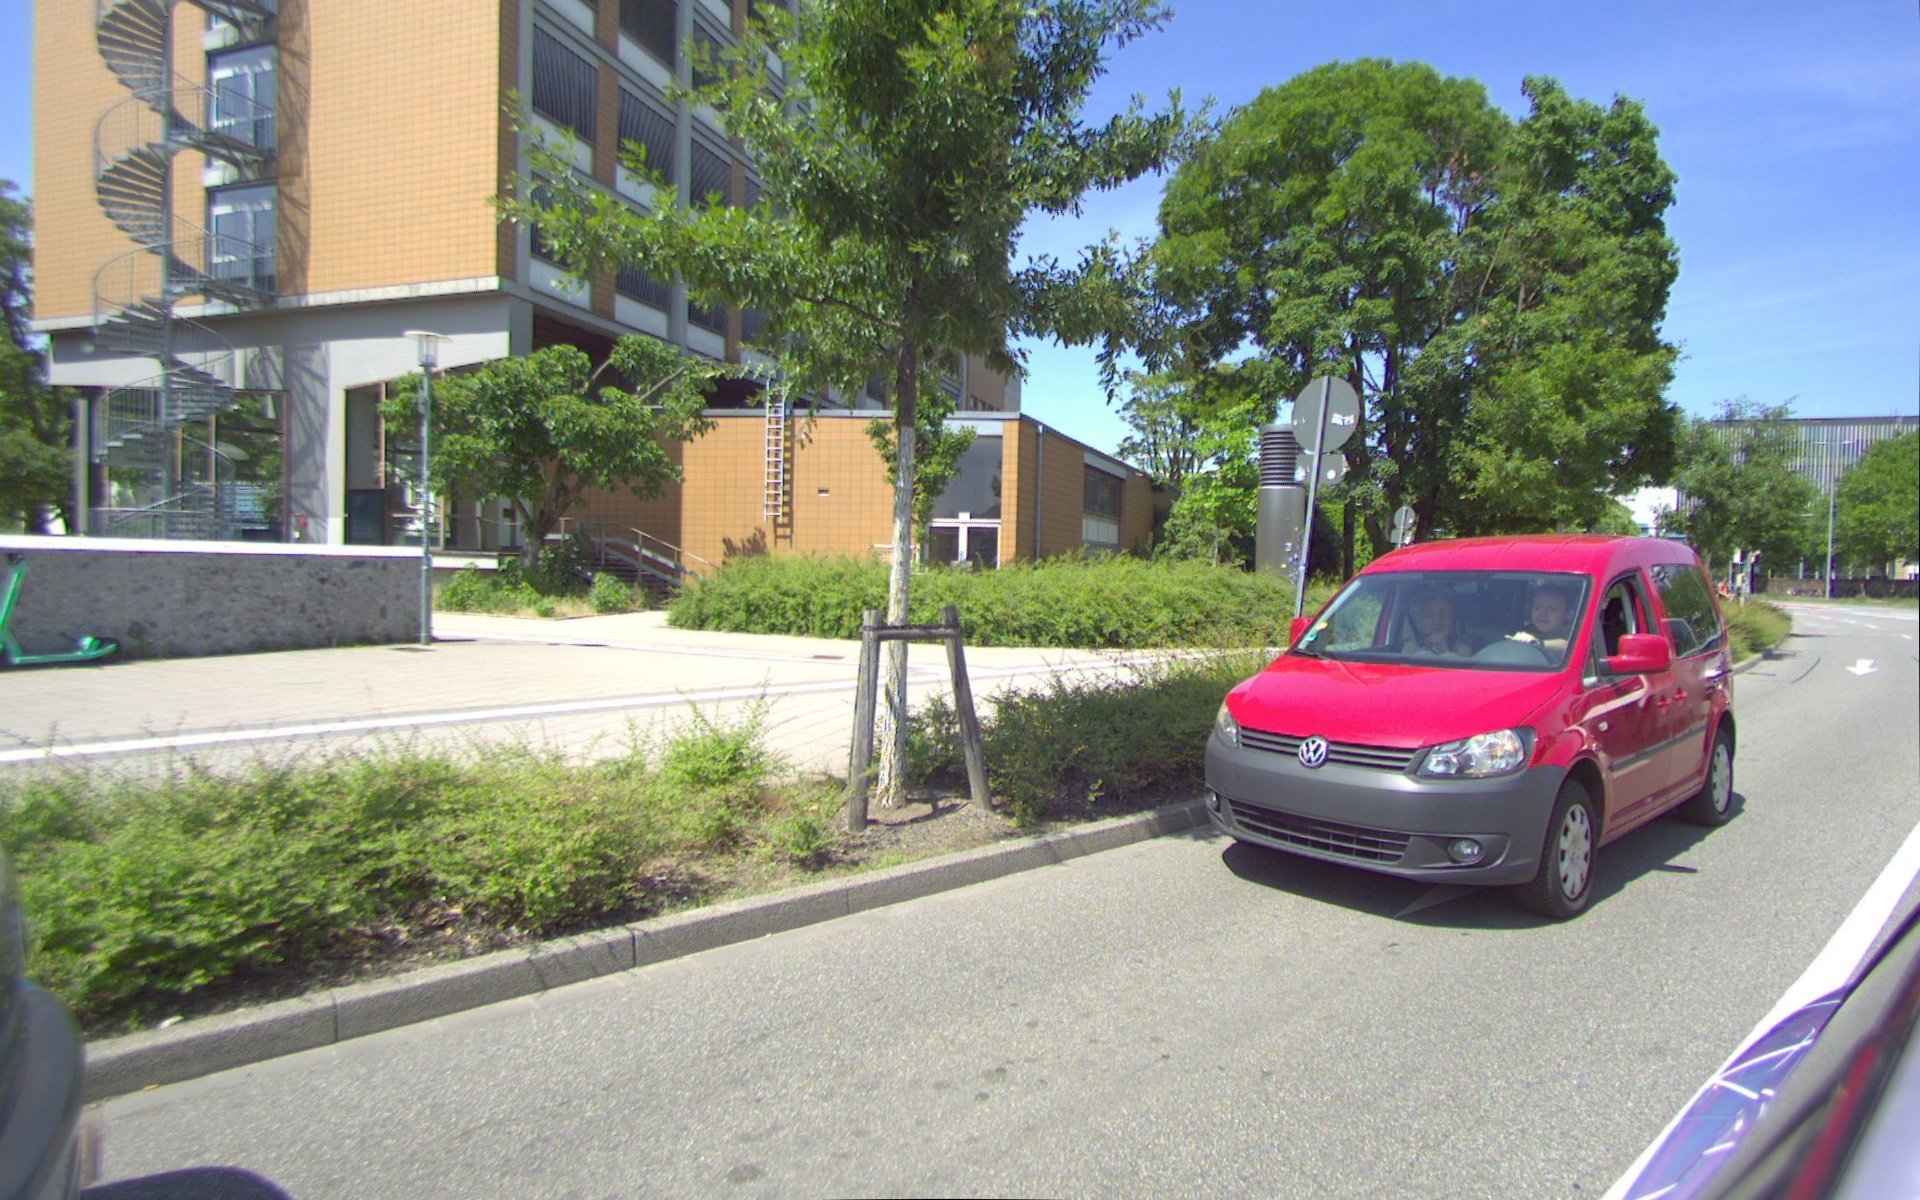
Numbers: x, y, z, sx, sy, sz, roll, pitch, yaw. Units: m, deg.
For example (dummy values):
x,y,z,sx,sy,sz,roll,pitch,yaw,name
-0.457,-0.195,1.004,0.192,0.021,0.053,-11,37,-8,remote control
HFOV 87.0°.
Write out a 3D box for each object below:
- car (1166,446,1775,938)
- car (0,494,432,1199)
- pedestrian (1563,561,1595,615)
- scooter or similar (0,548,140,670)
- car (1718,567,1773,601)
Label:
x,y,z,sx,sy,sz,roll,pitch,yaw,name
3.262,0.315,5.971,4.467,1.882,1.654,-1,1,-41,car
-2.753,0.626,0.763,3.933,1.477,1.654,-1,1,-40,car
21.424,-0.421,35.027,0.603,1.820,0.728,0,2,-40,pedestrian
-9.246,0.068,10.373,0.455,1.185,1.238,2,2,29,scooter or similar
50.435,-1.057,65.031,1.981,2.038,3.964,2,2,26,car
